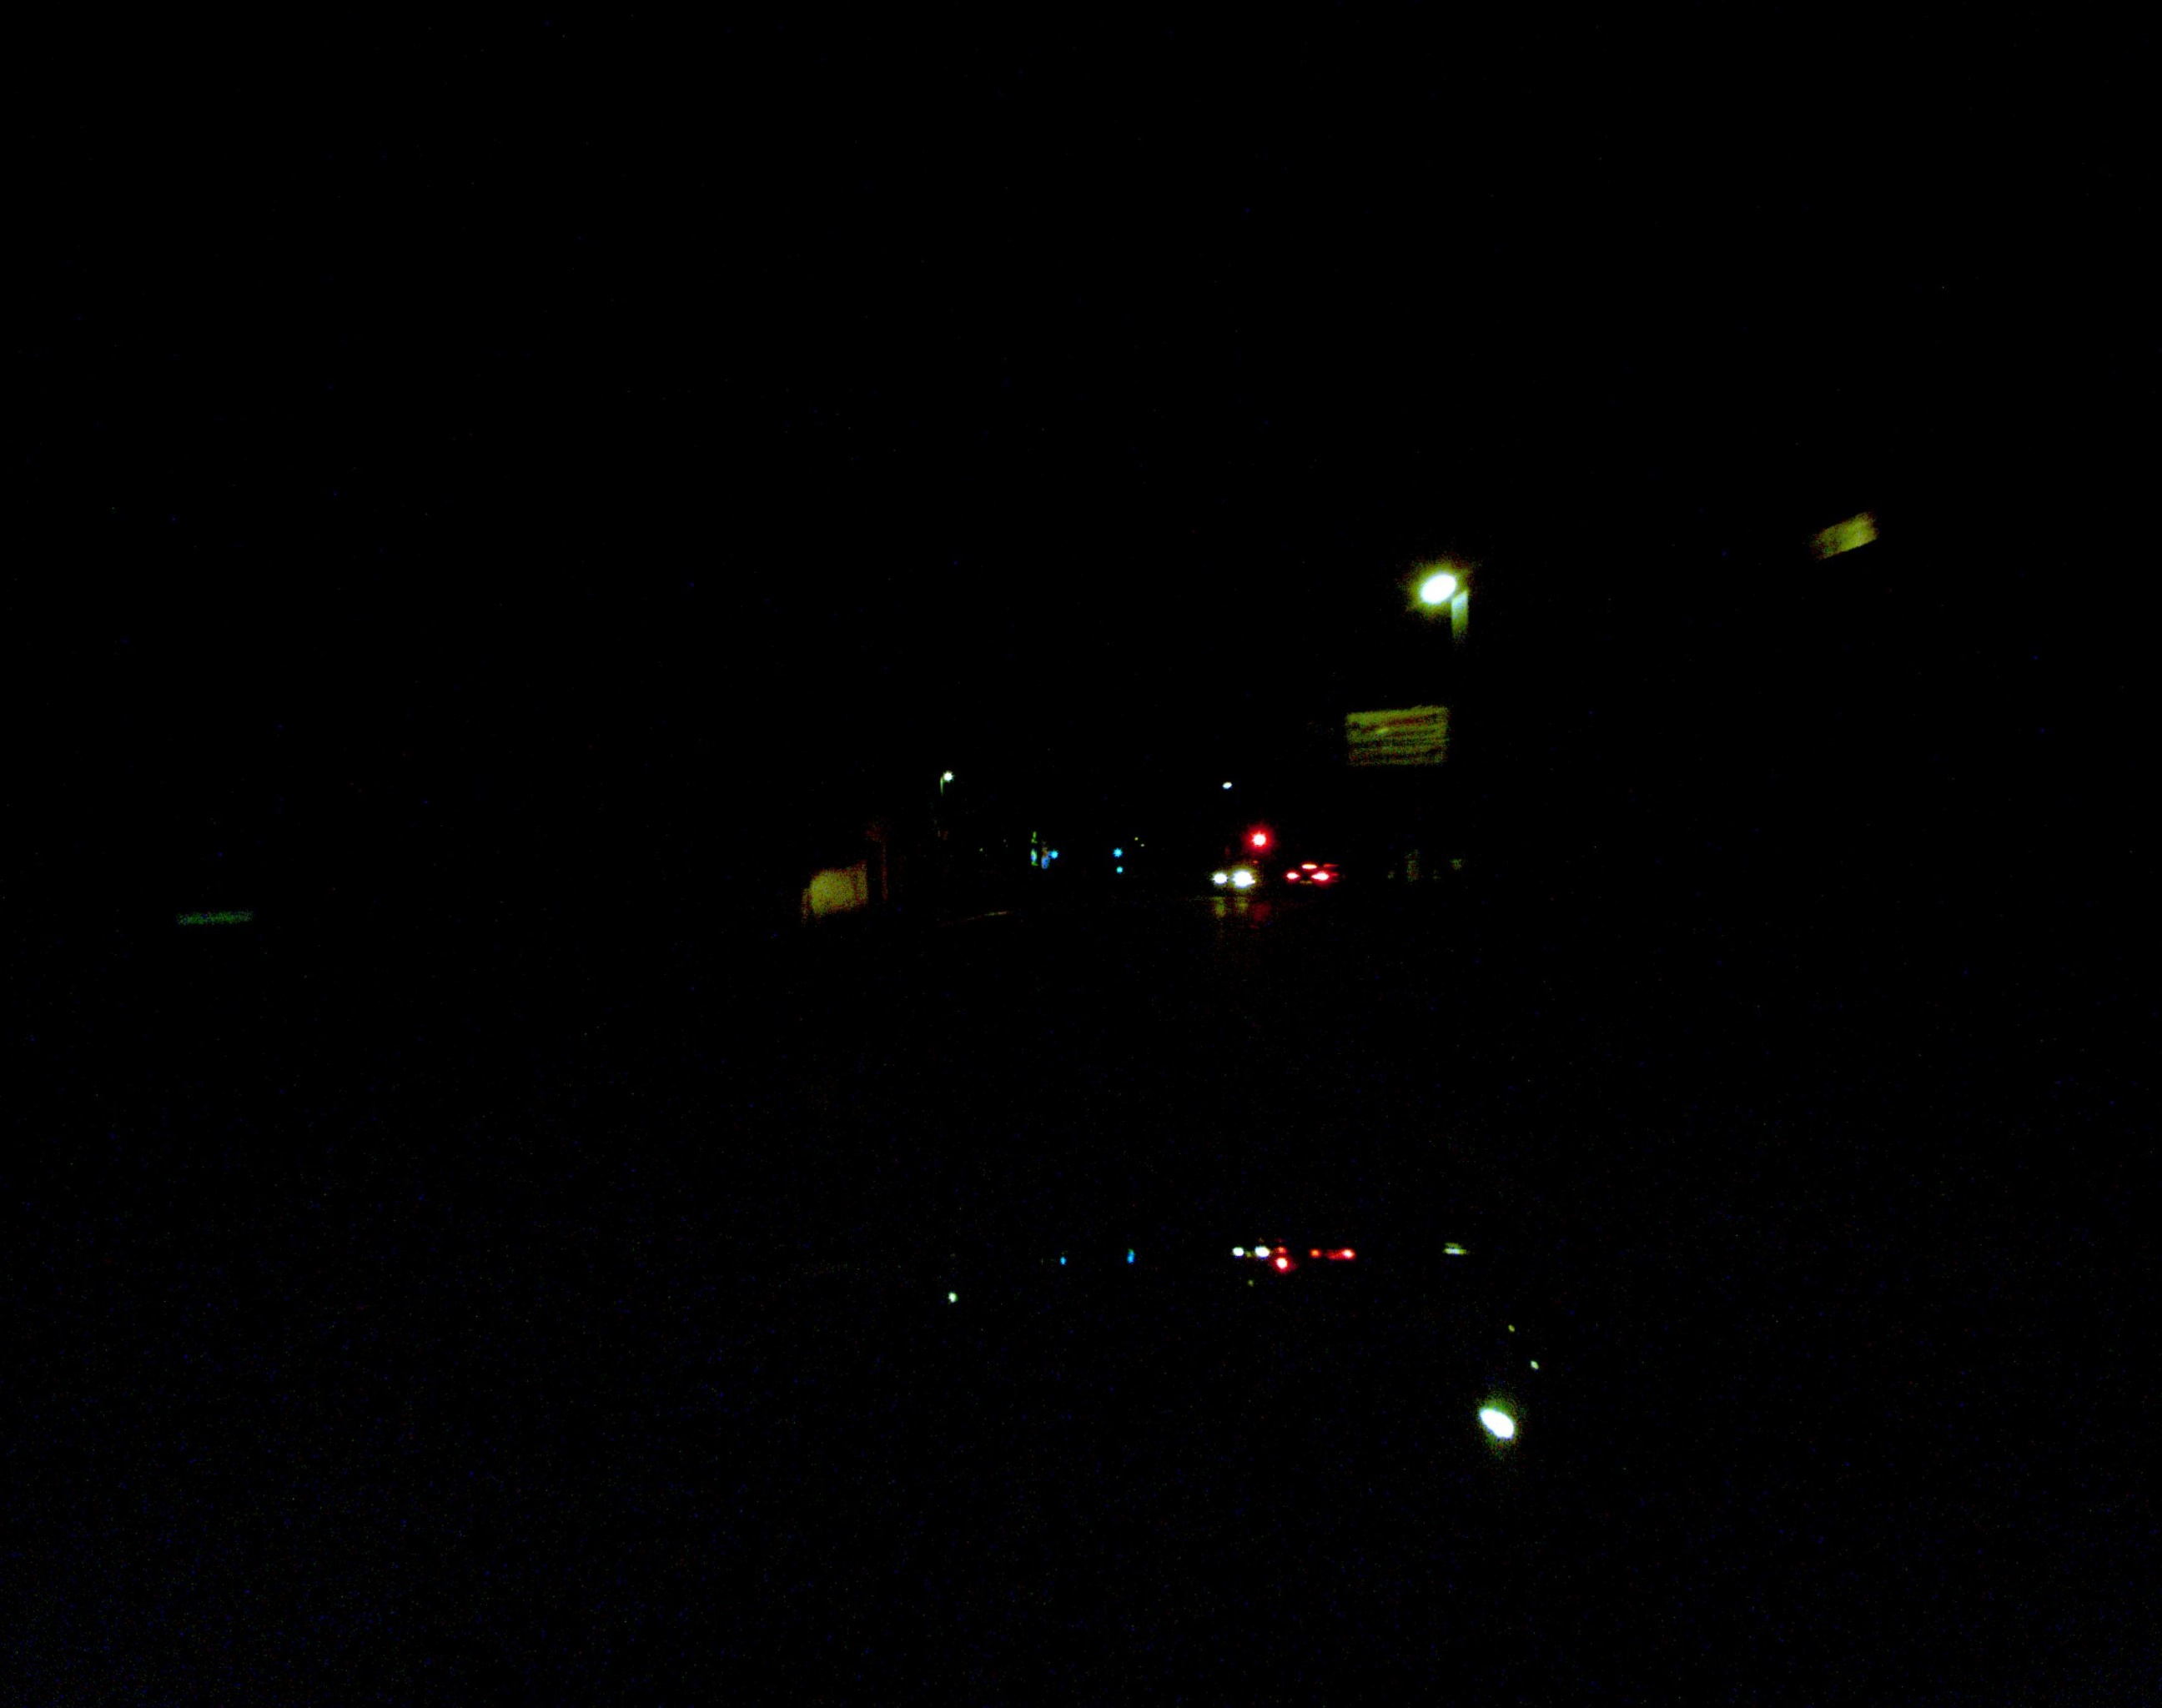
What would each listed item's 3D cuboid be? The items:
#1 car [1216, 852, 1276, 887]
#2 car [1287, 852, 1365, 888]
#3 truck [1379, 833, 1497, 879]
[{"bbox_3d":[7.616,0.713,34.910,1.510,1.492,3.057,1,-1,38],"label":"car"},{"bbox_3d":[10.569,0.716,32.595,1.726,1.421,4.301,0,-2,39],"label":"car"},{"bbox_3d":[25.250,0.069,53.986,2.778,3.028,7.015,-3,3,-43],"label":"truck"}]
